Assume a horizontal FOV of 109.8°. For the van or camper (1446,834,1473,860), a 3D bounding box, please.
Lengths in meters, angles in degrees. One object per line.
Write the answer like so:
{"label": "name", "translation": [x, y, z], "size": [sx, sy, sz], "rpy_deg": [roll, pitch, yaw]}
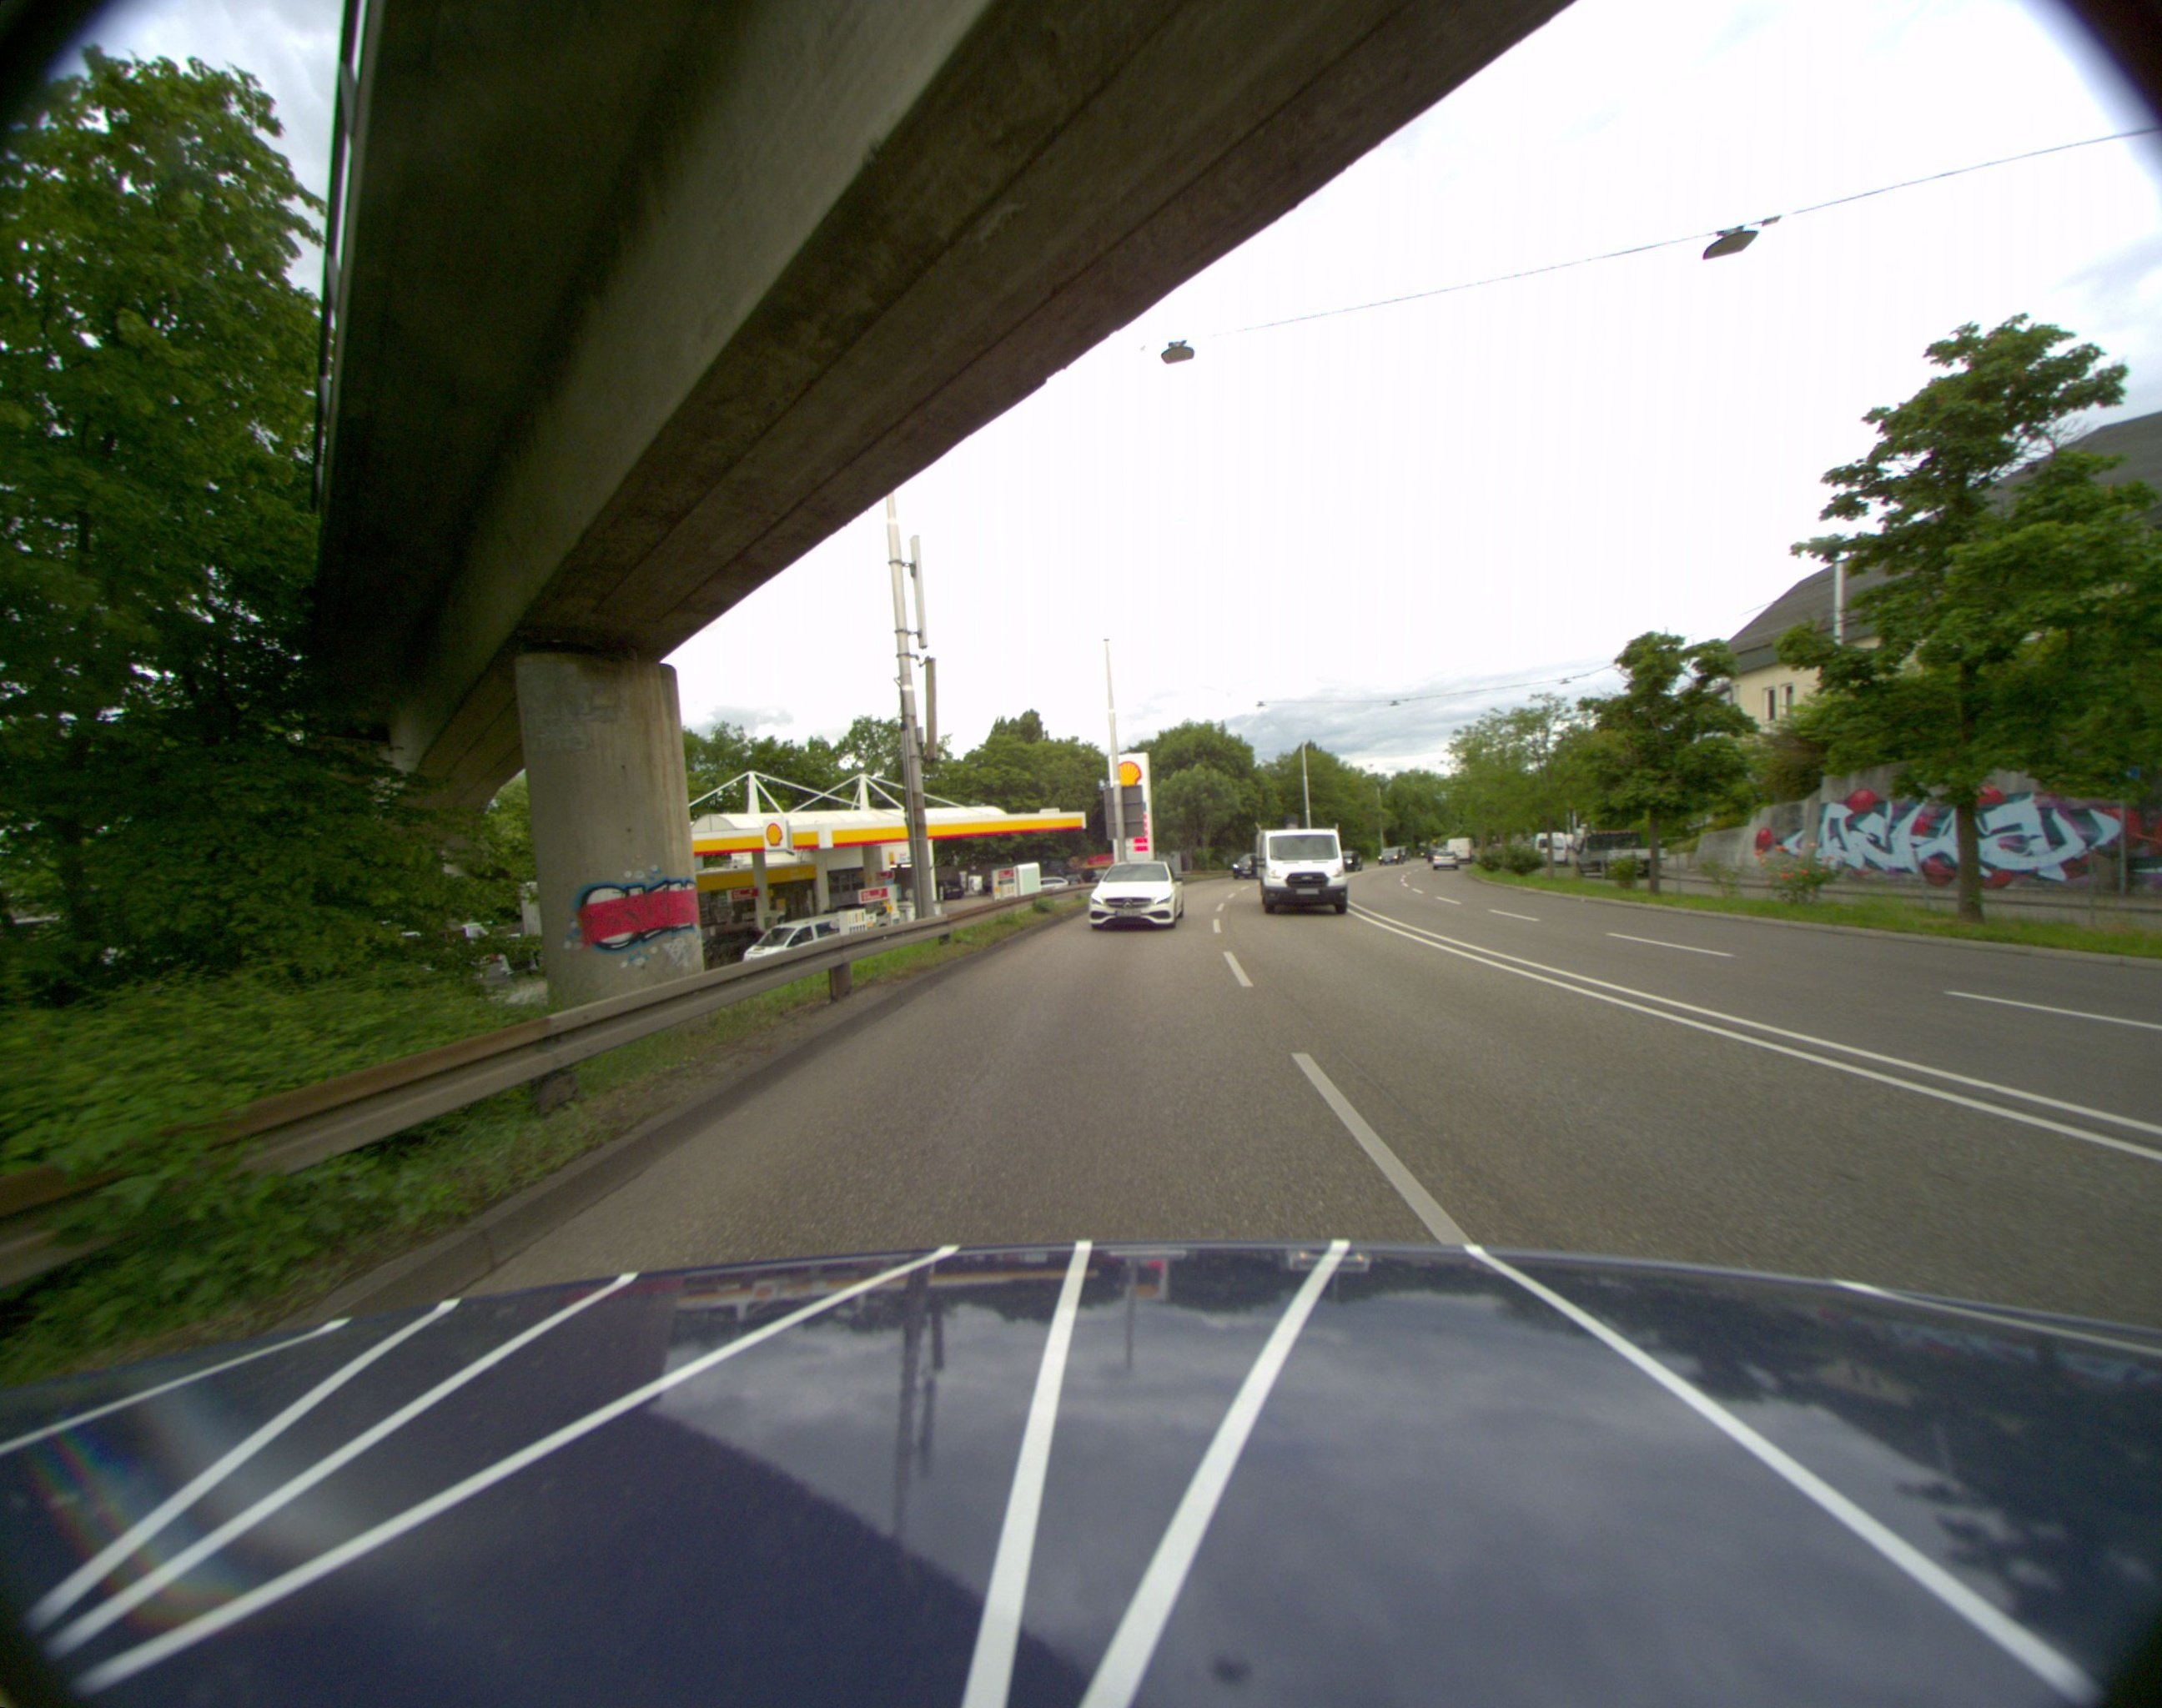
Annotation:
{"label": "van or camper", "translation": [35.399, -0.671, 71.174], "size": [2.010, 2.248, 5.972], "rpy_deg": [-1, 0, 24]}

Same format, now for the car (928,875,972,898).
{"label": "car", "translation": [-9.953, 2.430, 57.456], "size": [1.726, 1.428, 4.094], "rpy_deg": [-4, 4, -34]}

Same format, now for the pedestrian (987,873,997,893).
{"label": "pedestrian", "translation": [-6.769, 2.209, 57.691], "size": [0.469, 1.530, 0.431], "rpy_deg": [-6, -1, -19]}

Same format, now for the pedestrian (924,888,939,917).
{"label": "pedestrian", "translation": [-8.986, 2.939, 45.637], "size": [0.542, 1.694, 0.611], "rpy_deg": [-2, 1, 27]}

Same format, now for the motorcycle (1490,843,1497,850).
{"label": "motorcycle", "translation": [61.526, -1.094, 113.346], "size": [0.483, 1.050, 2.273], "rpy_deg": [0, 1, 38]}

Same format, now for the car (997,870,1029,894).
{"label": "car", "translation": [-5.305, 2.126, 58.710], "size": [1.629, 1.511, 4.093], "rpy_deg": [-3, 3, -17]}

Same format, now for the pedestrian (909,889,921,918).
{"label": "pedestrian", "translation": [-9.905, 2.922, 45.254], "size": [0.491, 1.695, 0.432], "rpy_deg": [-2, 1, 41]}

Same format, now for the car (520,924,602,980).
{"label": "car", "translation": [-23.854, 4.426, 34.811], "size": [3.866, 1.929, 1.743], "rpy_deg": [-1, 7, 38]}

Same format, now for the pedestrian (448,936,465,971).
{"label": "pedestrian", "translation": [-30.917, 4.917, 37.620], "size": [0.424, 1.587, 0.509], "rpy_deg": [1, 5, 44]}

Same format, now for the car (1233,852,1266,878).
{"label": "car", "translation": [10.043, 0.613, 45.159], "size": [1.732, 1.402, 4.004], "rpy_deg": [-2, 0, 14]}

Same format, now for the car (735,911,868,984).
{"label": "car", "translation": [-10.945, 3.610, 30.150], "size": [1.736, 1.999, 4.719], "rpy_deg": [-3, 3, 32]}

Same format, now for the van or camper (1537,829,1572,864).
{"label": "van or camper", "translation": [35.490, -0.581, 56.900], "size": [1.994, 2.458, 5.721], "rpy_deg": [-1, 1, 34]}

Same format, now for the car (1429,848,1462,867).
{"label": "car", "translation": [27.245, 0.239, 56.897], "size": [1.704, 1.400, 3.814], "rpy_deg": [-1, 0, 18]}

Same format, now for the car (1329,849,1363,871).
{"label": "car", "translation": [19.399, 0.415, 55.574], "size": [1.733, 1.403, 4.007], "rpy_deg": [-3, 0, 27]}

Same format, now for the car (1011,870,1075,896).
{"label": "car", "translation": [-2.765, 2.086, 55.381], "size": [4.298, 1.424, 1.598], "rpy_deg": [-4, 3, -24]}

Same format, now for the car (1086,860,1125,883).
{"label": "car", "translation": [1.919, 1.383, 61.645], "size": [1.736, 1.419, 4.285], "rpy_deg": [-6, 4, -18]}

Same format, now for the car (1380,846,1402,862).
{"label": "car", "translation": [30.463, -0.030, 74.594], "size": [1.727, 1.469, 4.006], "rpy_deg": [-3, 0, 24]}

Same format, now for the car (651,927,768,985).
{"label": "car", "translation": [-15.255, 4.136, 31.377], "size": [1.736, 1.478, 3.882], "rpy_deg": [1, 6, 35]}

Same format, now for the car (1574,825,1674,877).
{"label": "car", "translation": [25.842, -0.164, 36.483], "size": [2.270, 2.260, 6.335], "rpy_deg": [-1, 1, 20]}

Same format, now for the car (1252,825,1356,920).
{"label": "car", "translation": [5.894, 0.445, 20.854], "size": [1.997, 2.161, 6.273], "rpy_deg": [-2, 0, 10]}

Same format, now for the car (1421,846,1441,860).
{"label": "car", "translation": [36.595, -0.151, 79.382], "size": [1.736, 1.406, 4.437], "rpy_deg": [0, 0, 27]}

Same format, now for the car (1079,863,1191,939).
{"label": "car", "translation": [1.335, 0.950, 16.945], "size": [1.819, 1.339, 4.003], "rpy_deg": [0, 1, 14]}

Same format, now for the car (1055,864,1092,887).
{"label": "car", "translation": [-0.662, 1.662, 60.859], "size": [1.736, 1.428, 4.285], "rpy_deg": [-6, 4, -17]}

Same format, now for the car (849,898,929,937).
{"label": "car", "translation": [-10.072, 3.283, 40.109], "size": [1.736, 1.478, 3.883], "rpy_deg": [-2, 3, 32]}
